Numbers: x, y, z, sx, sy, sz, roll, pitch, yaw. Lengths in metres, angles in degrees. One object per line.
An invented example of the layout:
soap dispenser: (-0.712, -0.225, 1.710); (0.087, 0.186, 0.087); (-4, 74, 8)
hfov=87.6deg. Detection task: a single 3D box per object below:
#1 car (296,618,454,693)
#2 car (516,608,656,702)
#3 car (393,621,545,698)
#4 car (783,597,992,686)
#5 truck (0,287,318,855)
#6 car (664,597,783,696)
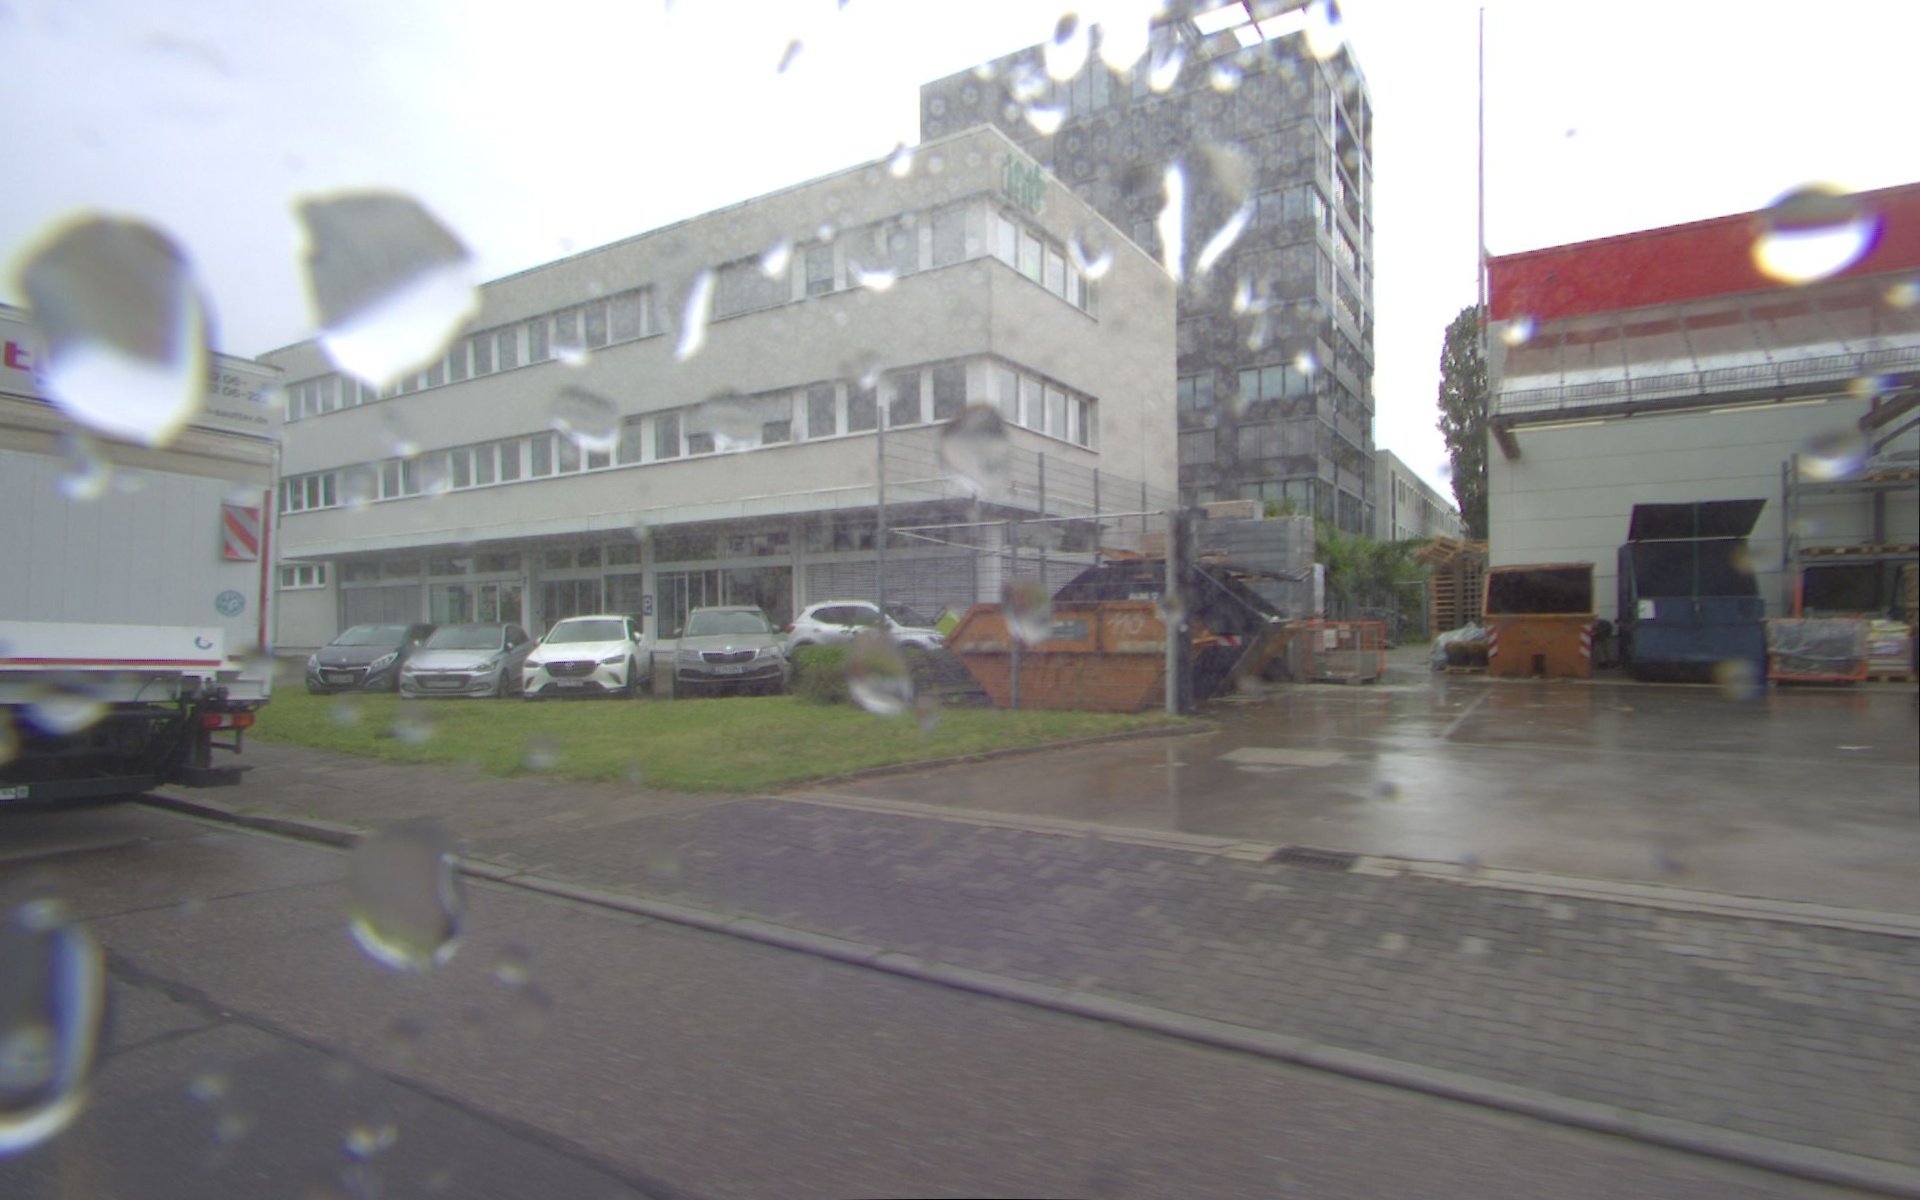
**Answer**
car: (-12.049, 1.082, 20.893); (1.675, 1.411, 3.765); (0, -1, -11)
car: (-6.629, 0.920, 18.144); (1.742, 1.489, 3.997); (0, -1, -11)
car: (-9.430, 1.085, 19.555); (1.675, 1.303, 3.997); (0, -1, -11)
car: (-1.576, 0.852, 21.369); (4.084, 1.728, 1.990); (-1, -1, 32)
truck: (-9.995, -0.082, 9.793); (9.171, 3.836, 2.736); (-1, -3, 34)
car: (-4.188, 0.773, 18.045); (1.838, 1.547, 3.997); (0, -1, -12)
